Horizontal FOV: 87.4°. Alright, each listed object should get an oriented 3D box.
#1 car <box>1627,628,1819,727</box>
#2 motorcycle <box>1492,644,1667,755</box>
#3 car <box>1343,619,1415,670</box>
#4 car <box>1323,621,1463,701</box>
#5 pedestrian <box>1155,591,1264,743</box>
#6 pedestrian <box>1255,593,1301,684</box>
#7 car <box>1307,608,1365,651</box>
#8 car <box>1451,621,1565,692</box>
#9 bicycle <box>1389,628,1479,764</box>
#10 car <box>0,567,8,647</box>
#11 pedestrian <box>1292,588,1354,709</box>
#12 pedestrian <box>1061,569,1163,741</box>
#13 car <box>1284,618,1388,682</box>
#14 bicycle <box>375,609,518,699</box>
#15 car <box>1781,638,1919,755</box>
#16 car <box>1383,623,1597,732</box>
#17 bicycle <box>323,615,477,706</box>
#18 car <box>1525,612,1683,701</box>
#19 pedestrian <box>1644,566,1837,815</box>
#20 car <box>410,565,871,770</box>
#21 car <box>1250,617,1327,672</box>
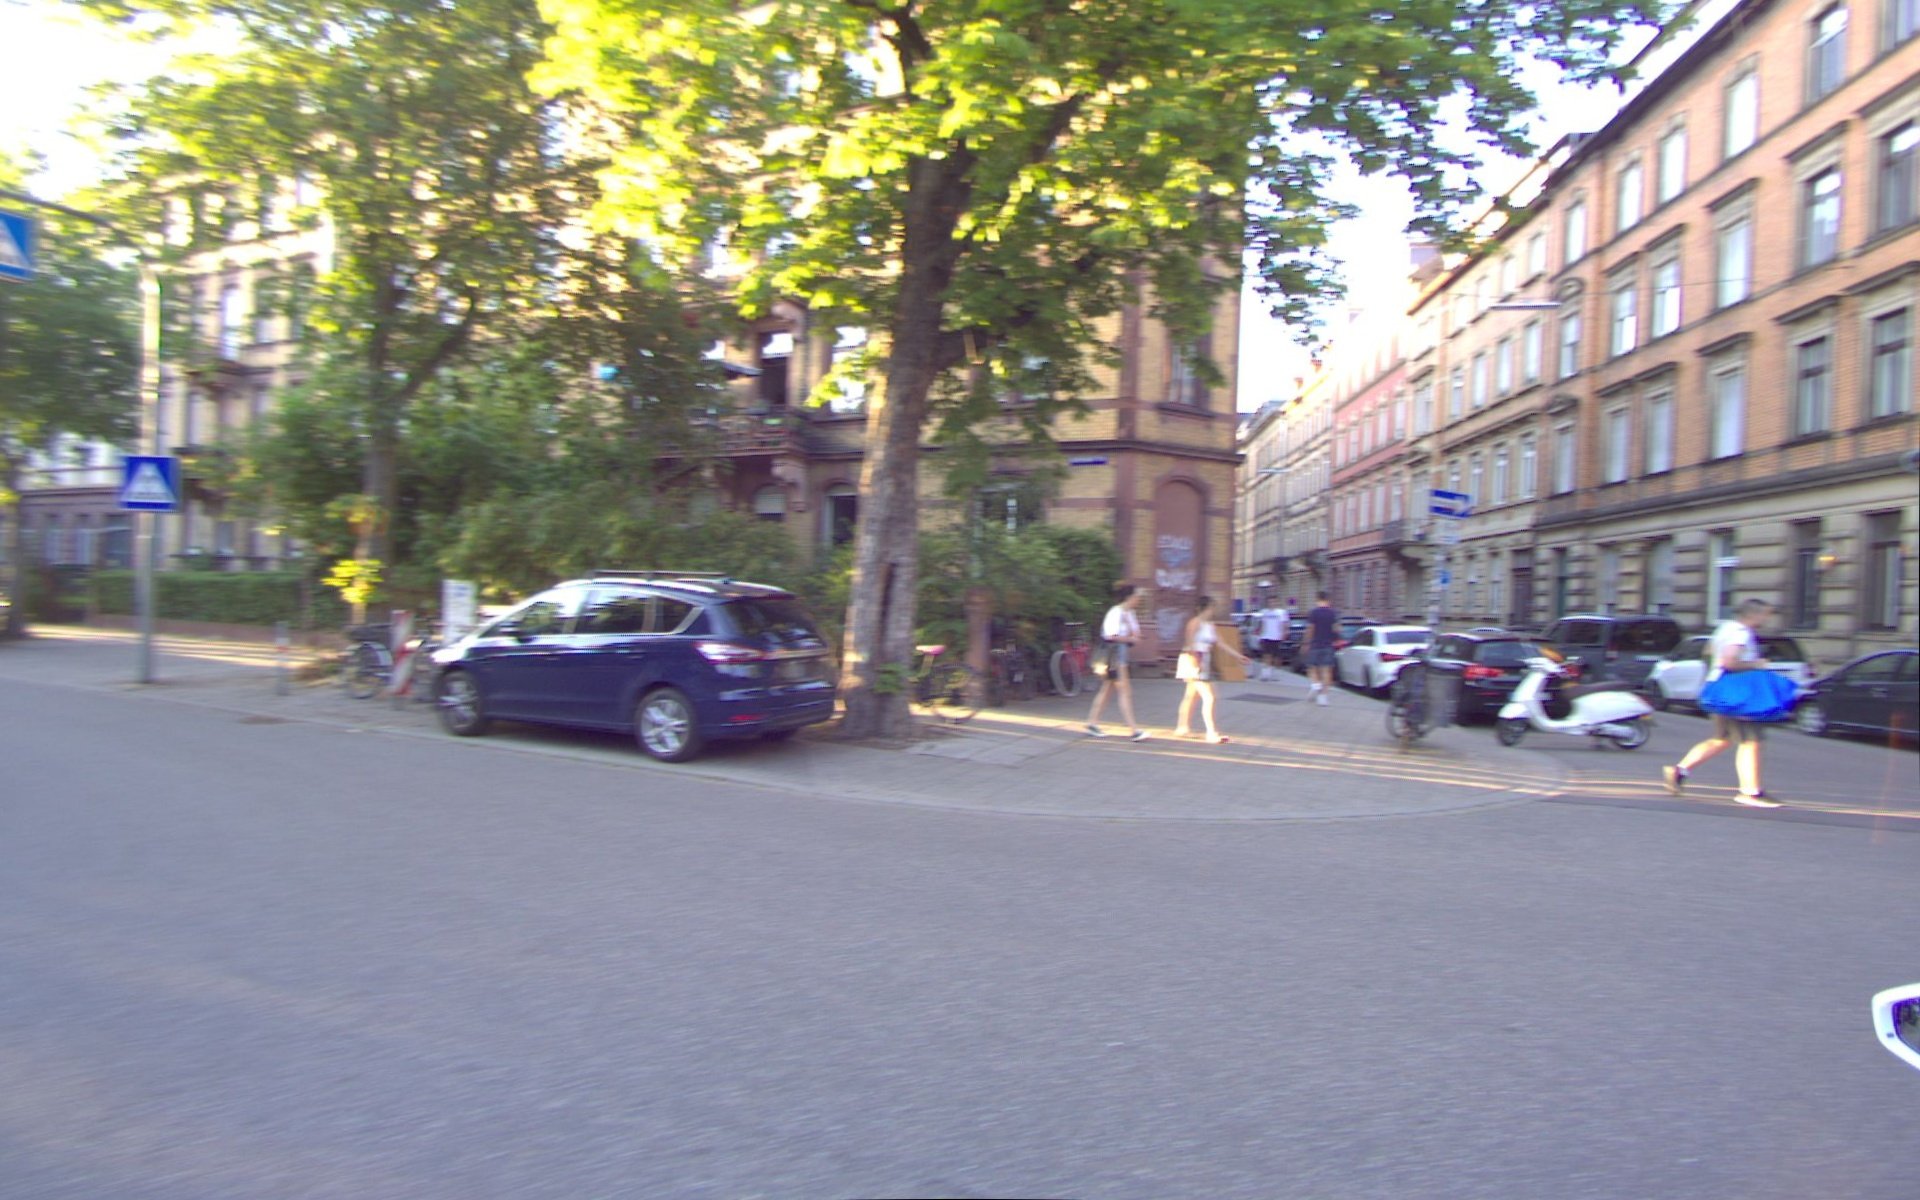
[{"bbox_3d":[14.207,1.371,18.923,1.437,1.615,3.336,1,-1,9],"label":"car"},{"bbox_3d":[7.792,1.232,12.718,1.826,1.273,0.472,1,-1,25],"label":"motorcycle"},{"bbox_3d":[16.257,1.685,39.134,1.654,1.847,3.490,1,-1,7],"label":"car"},{"bbox_3d":[9.080,1.210,21.419,1.547,1.478,4.427,1,-1,7],"label":"car"},{"bbox_3d":[2.847,0.753,11.535,1.032,1.652,0.688,2,0,1],"label":"pedestrian"},{"bbox_3d":[6.834,0.807,21.637,0.765,1.848,0.925,5,3,16],"label":"pedestrian"},{"bbox_3d":[16.984,1.328,45.540,1.654,1.847,3.490,1,-1,7],"label":"car"},{"bbox_3d":[15.446,1.530,28.493,1.654,1.847,3.490,1,-1,7],"label":"car"},{"bbox_3d":[5.500,1.048,11.595,0.510,1.411,1.793,4,1,37],"label":"bicycle"},{"bbox_3d":[-19.360,0.101,18.308,3.683,1.461,1.616,2,2,24],"label":"car"},{"bbox_3d":[5.910,0.768,16.329,0.675,1.848,0.792,6,3,29],"label":"pedestrian"},{"bbox_3d":[1.716,0.610,11.457,0.989,1.859,0.688,2,0,1],"label":"pedestrian"},{"bbox_3d":[9.716,1.230,26.261,1.547,1.478,4.427,1,-1,7],"label":"car"},{"bbox_3d":[-6.978,0.711,13.656,1.772,1.108,0.606,2,2,15],"label":"bicycle"},{"bbox_3d":[13.886,1.376,14.613,1.437,1.478,3.335,1,0,7],"label":"car"},{"bbox_3d":[8.416,1.153,16.364,1.751,1.478,4.021,1,-1,7],"label":"car"},{"bbox_3d":[-7.197,0.755,12.929,1.772,1.051,0.606,2,2,12],"label":"bicycle"},{"bbox_3d":[14.496,1.213,22.843,1.654,1.847,3.490,1,-1,7],"label":"car"},{"bbox_3d":[6.870,0.762,8.899,0.989,2.040,0.869,2,0,7],"label":"pedestrian"},{"bbox_3d":[-3.350,0.541,10.395,4.506,1.710,1.870,2,1,26],"label":"car"},{"bbox_3d":[10.292,1.346,31.715,1.547,1.593,4.122,1,-1,7],"label":"car"}]
